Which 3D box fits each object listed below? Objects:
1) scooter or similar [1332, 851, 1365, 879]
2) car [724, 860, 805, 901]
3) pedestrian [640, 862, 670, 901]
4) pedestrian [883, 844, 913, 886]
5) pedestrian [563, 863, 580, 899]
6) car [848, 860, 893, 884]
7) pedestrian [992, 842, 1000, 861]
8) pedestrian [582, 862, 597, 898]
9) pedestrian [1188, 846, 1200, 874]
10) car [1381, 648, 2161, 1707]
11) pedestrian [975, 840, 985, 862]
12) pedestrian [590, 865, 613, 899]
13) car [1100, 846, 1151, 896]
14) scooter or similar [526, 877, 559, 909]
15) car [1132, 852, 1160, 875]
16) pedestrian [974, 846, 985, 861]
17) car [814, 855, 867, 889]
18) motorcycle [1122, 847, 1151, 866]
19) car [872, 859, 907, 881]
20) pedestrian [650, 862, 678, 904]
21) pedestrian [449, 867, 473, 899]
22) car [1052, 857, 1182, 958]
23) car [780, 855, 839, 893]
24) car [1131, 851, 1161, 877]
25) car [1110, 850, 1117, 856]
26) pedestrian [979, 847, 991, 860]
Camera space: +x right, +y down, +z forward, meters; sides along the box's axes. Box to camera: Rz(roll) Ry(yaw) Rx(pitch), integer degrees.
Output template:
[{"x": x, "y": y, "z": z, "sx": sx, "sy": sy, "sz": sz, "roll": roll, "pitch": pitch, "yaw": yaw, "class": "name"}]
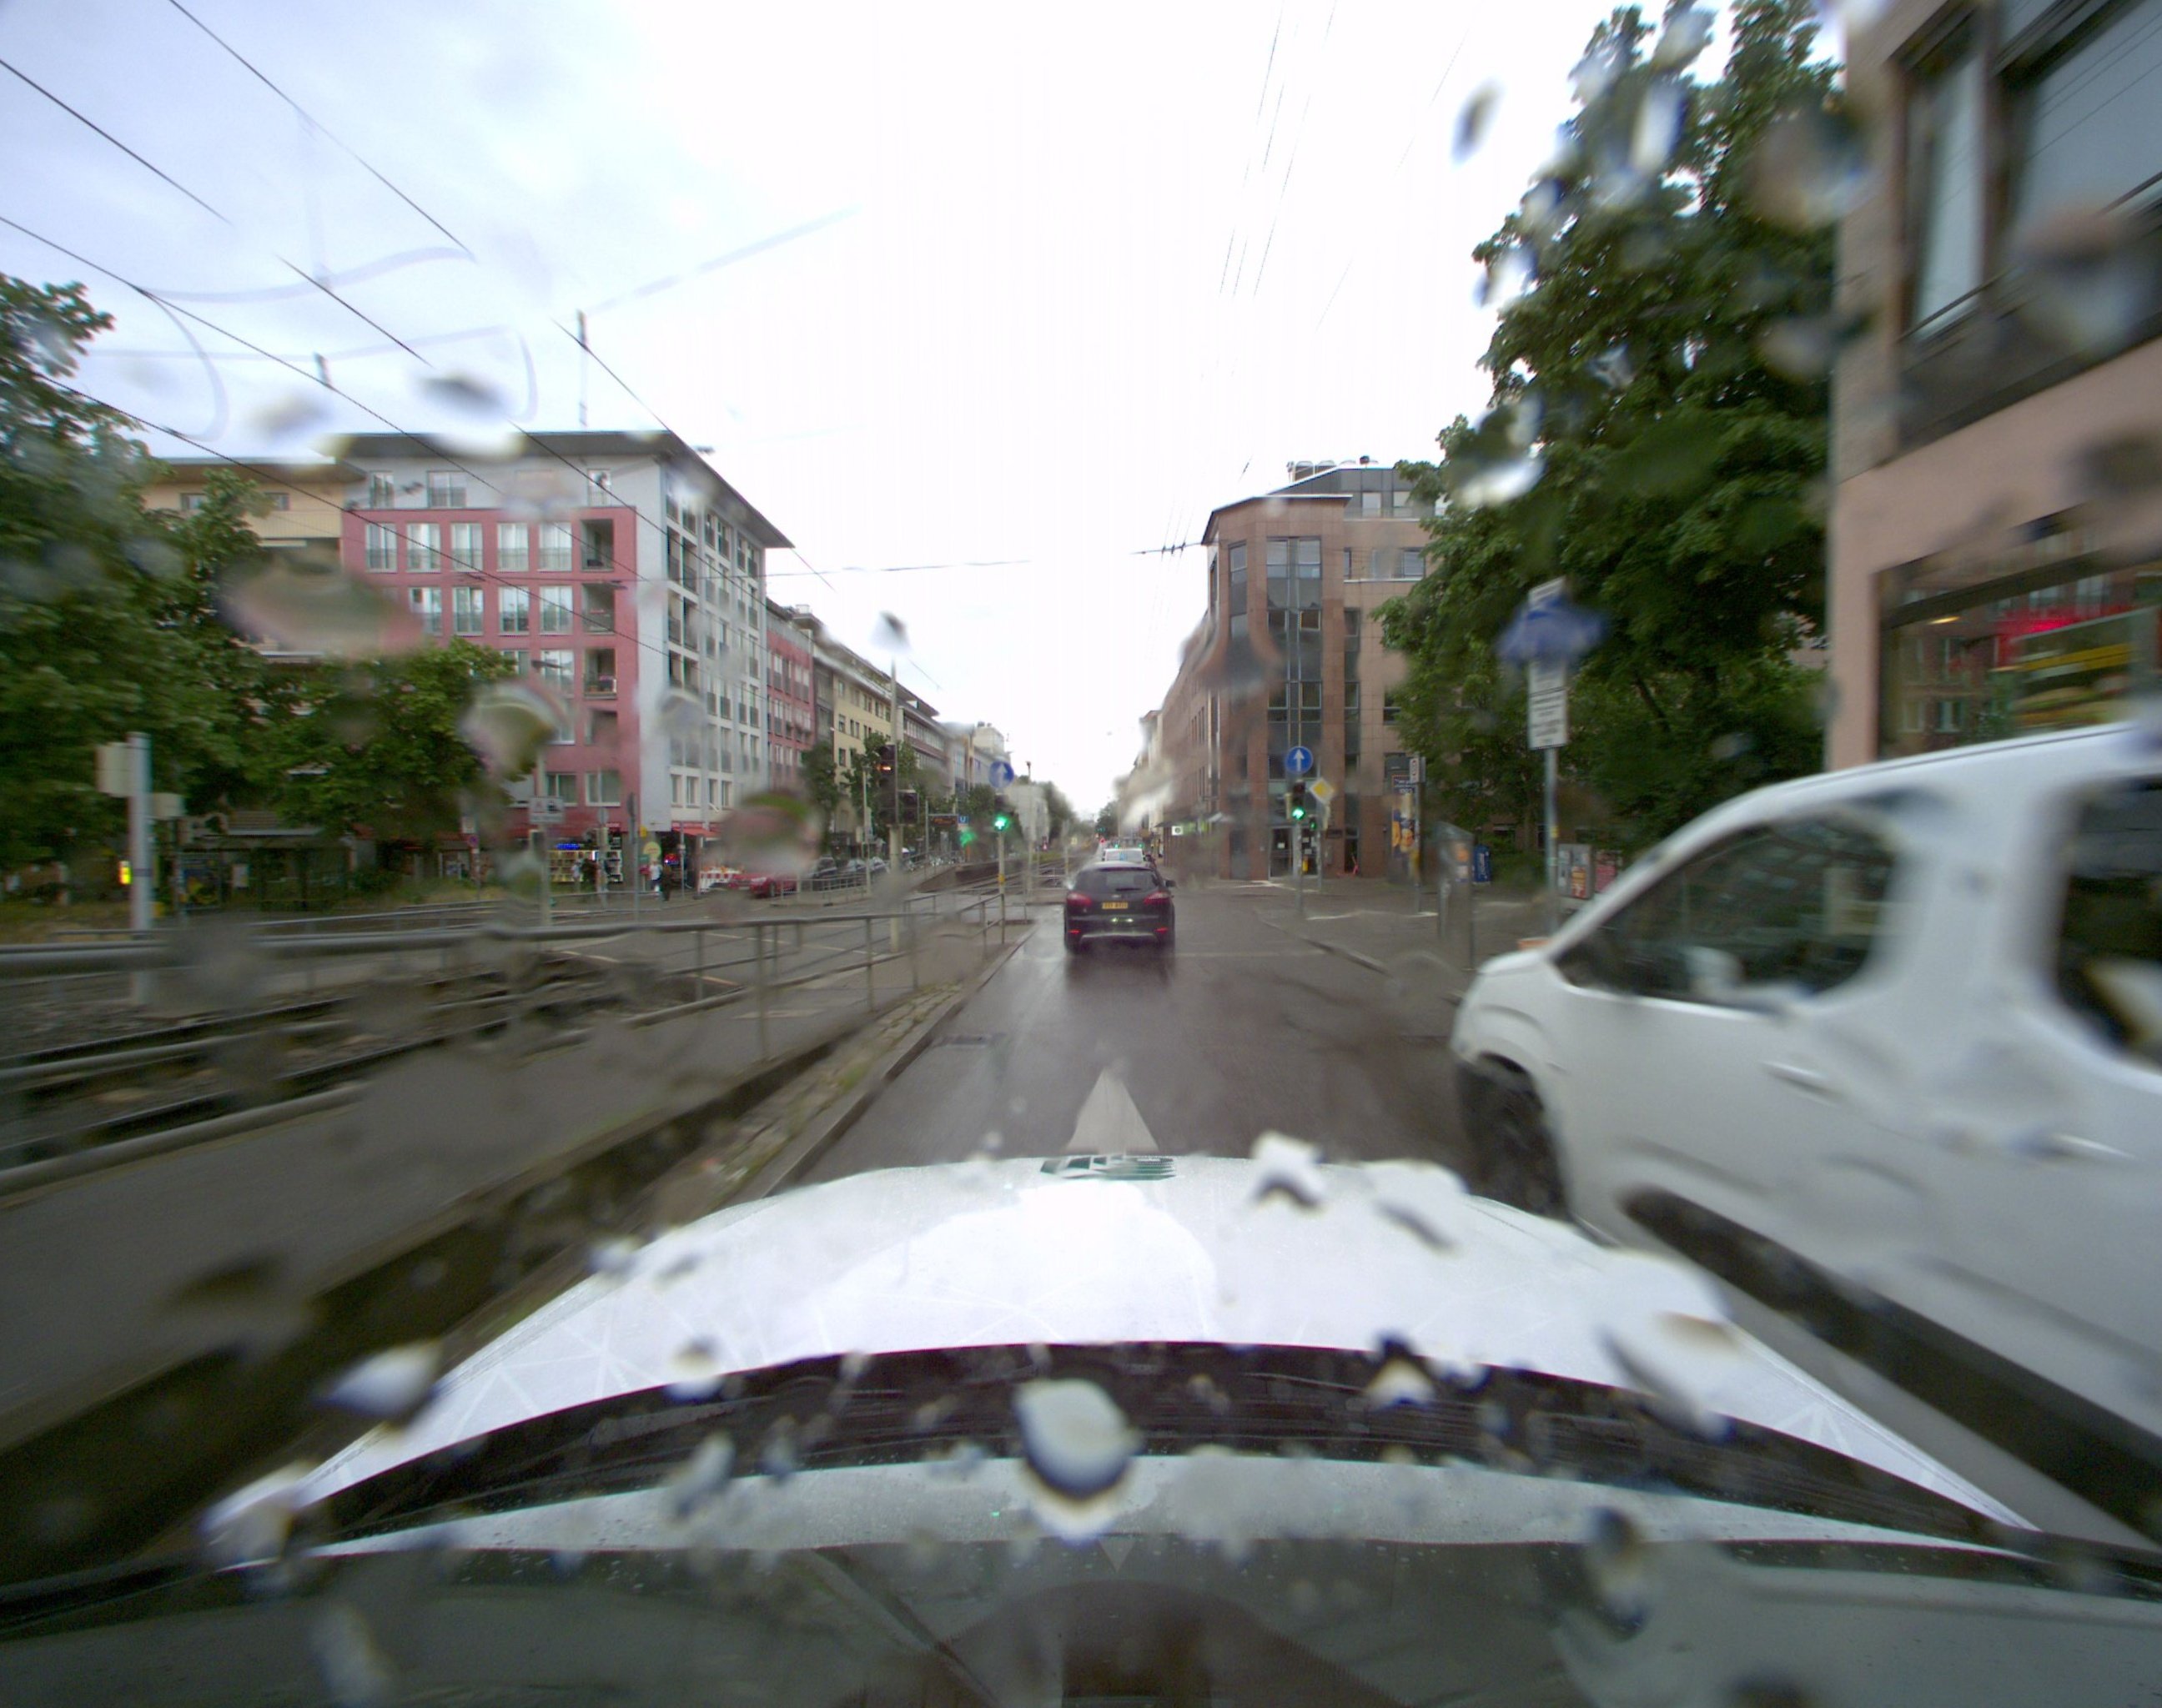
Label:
[{"x": 12.185, "y": 0.482, "z": 37.098, "sx": 1.368, "sy": 1.227, "sz": 0.326, "roll": -2, "pitch": -1, "yaw": 4, "class": "scooter or similar"}, {"x": -14.404, "y": 1.163, "z": 37.347, "sx": 1.719, "sy": 1.611, "sz": 4.556, "roll": -2, "pitch": 1, "yaw": 3, "class": "car"}, {"x": -18.665, "y": 1.201, "z": 35.687, "sx": 0.818, "sy": 1.697, "sz": 0.984, "roll": 0, "pitch": 0, "yaw": -7, "class": "pedestrian"}, {"x": -9.050, "y": 0.538, "z": 40.296, "sx": 1.112, "sy": 2.014, "sz": 1.383, "roll": -2, "pitch": -1, "yaw": 1, "class": "pedestrian"}, {"x": -23.406, "y": 1.212, "z": 37.396, "sx": 0.581, "sy": 1.632, "sz": 0.606, "roll": 0, "pitch": -1, "yaw": -25, "class": "pedestrian"}, {"x": -13.729, "y": 1.127, "z": 53.332, "sx": 1.836, "sy": 1.436, "sz": 4.317, "roll": -2, "pitch": 0, "yaw": -2, "class": "car"}, {"x": -8.132, "y": -0.246, "z": 78.194, "sx": 0.653, "sy": 1.801, "sz": 0.850, "roll": -1, "pitch": 0, "yaw": -1, "class": "pedestrian"}, {"x": -22.610, "y": 1.188, "z": 37.469, "sx": 0.548, "sy": 1.632, "sz": 0.568, "roll": 1, "pitch": -1, "yaw": -35, "class": "pedestrian"}, {"x": 6.802, "y": 0.370, "z": 49.052, "sx": 0.599, "sy": 1.659, "sz": 0.626, "roll": -2, "pitch": -1, "yaw": 2, "class": "pedestrian"}, {"x": 2.566, "y": 0.583, "z": 1.950, "sx": 1.900, "sy": 1.806, "sz": 4.776, "roll": -1, "pitch": 0, "yaw": 0, "class": "car"}, {"x": -8.030, "y": -0.259, "z": 64.760, "sx": 0.653, "sy": 1.711, "sz": 0.850, "roll": -1, "pitch": 0, "yaw": -1, "class": "pedestrian"}, {"x": -21.490, "y": 1.249, "z": 36.495, "sx": 0.637, "sy": 1.461, "sz": 0.656, "roll": 0, "pitch": -1, "yaw": -1, "class": "pedestrian"}, {"x": 1.757, "y": 0.680, "z": 33.358, "sx": 1.899, "sy": 1.864, "sz": 4.575, "roll": -1, "pitch": 0, "yaw": 2, "class": "car"}, {"x": -20.855, "y": 1.508, "z": 31.543, "sx": 0.387, "sy": 1.191, "sz": 1.213, "roll": -2, "pitch": -1, "yaw": 3, "class": "scooter or similar"}, {"x": 4.464, "y": 0.629, "z": 56.277, "sx": 1.692, "sy": 1.462, "sz": 3.869, "roll": -3, "pitch": 0, "yaw": 2, "class": "car"}, {"x": -8.354, "y": -0.041, "z": 67.047, "sx": 0.690, "sy": 1.249, "sz": 0.884, "roll": -1, "pitch": 0, "yaw": -1, "class": "pedestrian"}, {"x": -13.966, "y": 1.006, "z": 47.466, "sx": 1.797, "sy": 1.858, "sz": 4.379, "roll": -2, "pitch": 0, "yaw": -1, "class": "car"}, {"x": 4.323, "y": 0.202, "z": 63.349, "sx": 2.066, "sy": 1.407, "sz": 0.803, "roll": -2, "pitch": -1, "yaw": 19, "class": "motorcycle"}, {"x": -13.535, "y": 1.082, "z": 57.691, "sx": 1.564, "sy": 1.436, "sz": 3.977, "roll": -2, "pitch": 0, "yaw": -2, "class": "car"}, {"x": -17.041, "y": 1.177, "z": 33.252, "sx": 0.811, "sy": 1.631, "sz": 0.872, "roll": -2, "pitch": 2, "yaw": -40, "class": "pedestrian"}, {"x": -27.326, "y": 1.273, "z": 35.896, "sx": 0.558, "sy": 1.405, "sz": 0.651, "roll": 0, "pitch": -1, "yaw": 0, "class": "pedestrian"}, {"x": 0.591, "y": 0.800, "z": 13.796, "sx": 1.899, "sy": 1.462, "sz": 3.446, "roll": -1, "pitch": 0, "yaw": 2, "class": "car"}, {"x": -14.246, "y": 1.006, "z": 42.983, "sx": 1.702, "sy": 1.858, "sz": 4.319, "roll": -2, "pitch": 0, "yaw": -1, "class": "car"}, {"x": 3.994, "y": 0.593, "z": 50.699, "sx": 1.691, "sy": 1.479, "sz": 3.870, "roll": -3, "pitch": 0, "yaw": 3, "class": "car"}, {"x": 8.800, "y": -0.269, "z": 221.529, "sx": 1.899, "sy": 1.633, "sz": 4.576, "roll": -1, "pitch": 0, "yaw": 3, "class": "car"}, {"x": -8.170, "y": -0.032, "z": 69.335, "sx": 0.892, "sy": 1.123, "sz": 0.847, "roll": -1, "pitch": 0, "yaw": -9, "class": "pedestrian"}]
